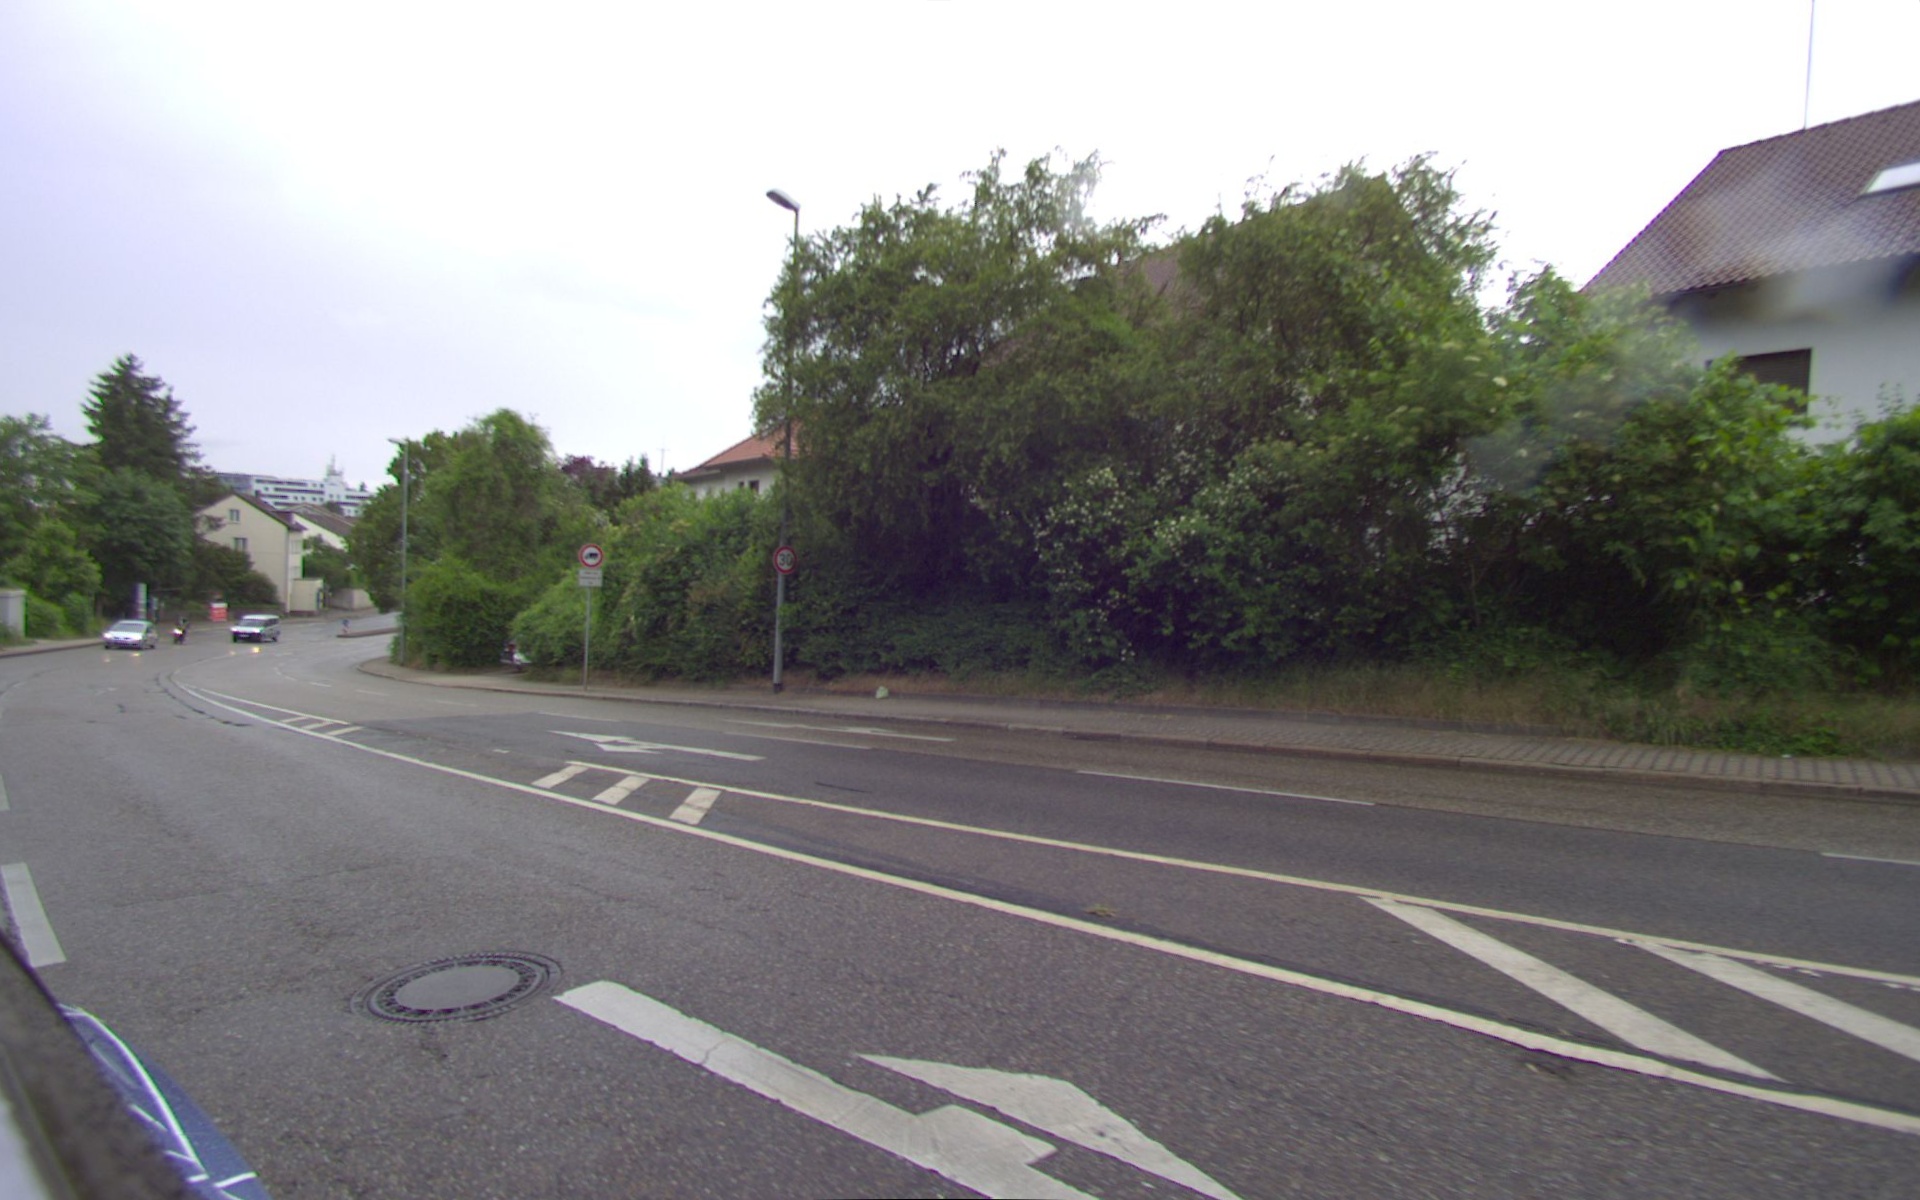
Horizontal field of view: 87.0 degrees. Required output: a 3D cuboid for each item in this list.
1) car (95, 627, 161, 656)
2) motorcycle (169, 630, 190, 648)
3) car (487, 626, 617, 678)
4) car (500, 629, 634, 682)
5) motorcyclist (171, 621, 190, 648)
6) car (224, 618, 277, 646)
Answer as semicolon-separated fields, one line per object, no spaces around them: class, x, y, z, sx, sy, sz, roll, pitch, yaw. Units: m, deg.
car;-45.764;2.296;55.756;1.787;1.450;4.013;4;-4;-26
motorcycle;-49.891;2.496;64.722;0.681;1.061;1.753;4;-2;-27
car;-14.936;1.851;37.164;3.939;1.548;2.002;-4;1;-42
car;-13.444;1.860;34.724;3.853;1.451;1.814;-4;1;-41
motorcyclist;-49.928;2.208;64.820;0.754;1.655;0.676;3;-3;-26
car;-49.718;2.272;71.039;1.749;1.788;4.011;3;-3;-16
